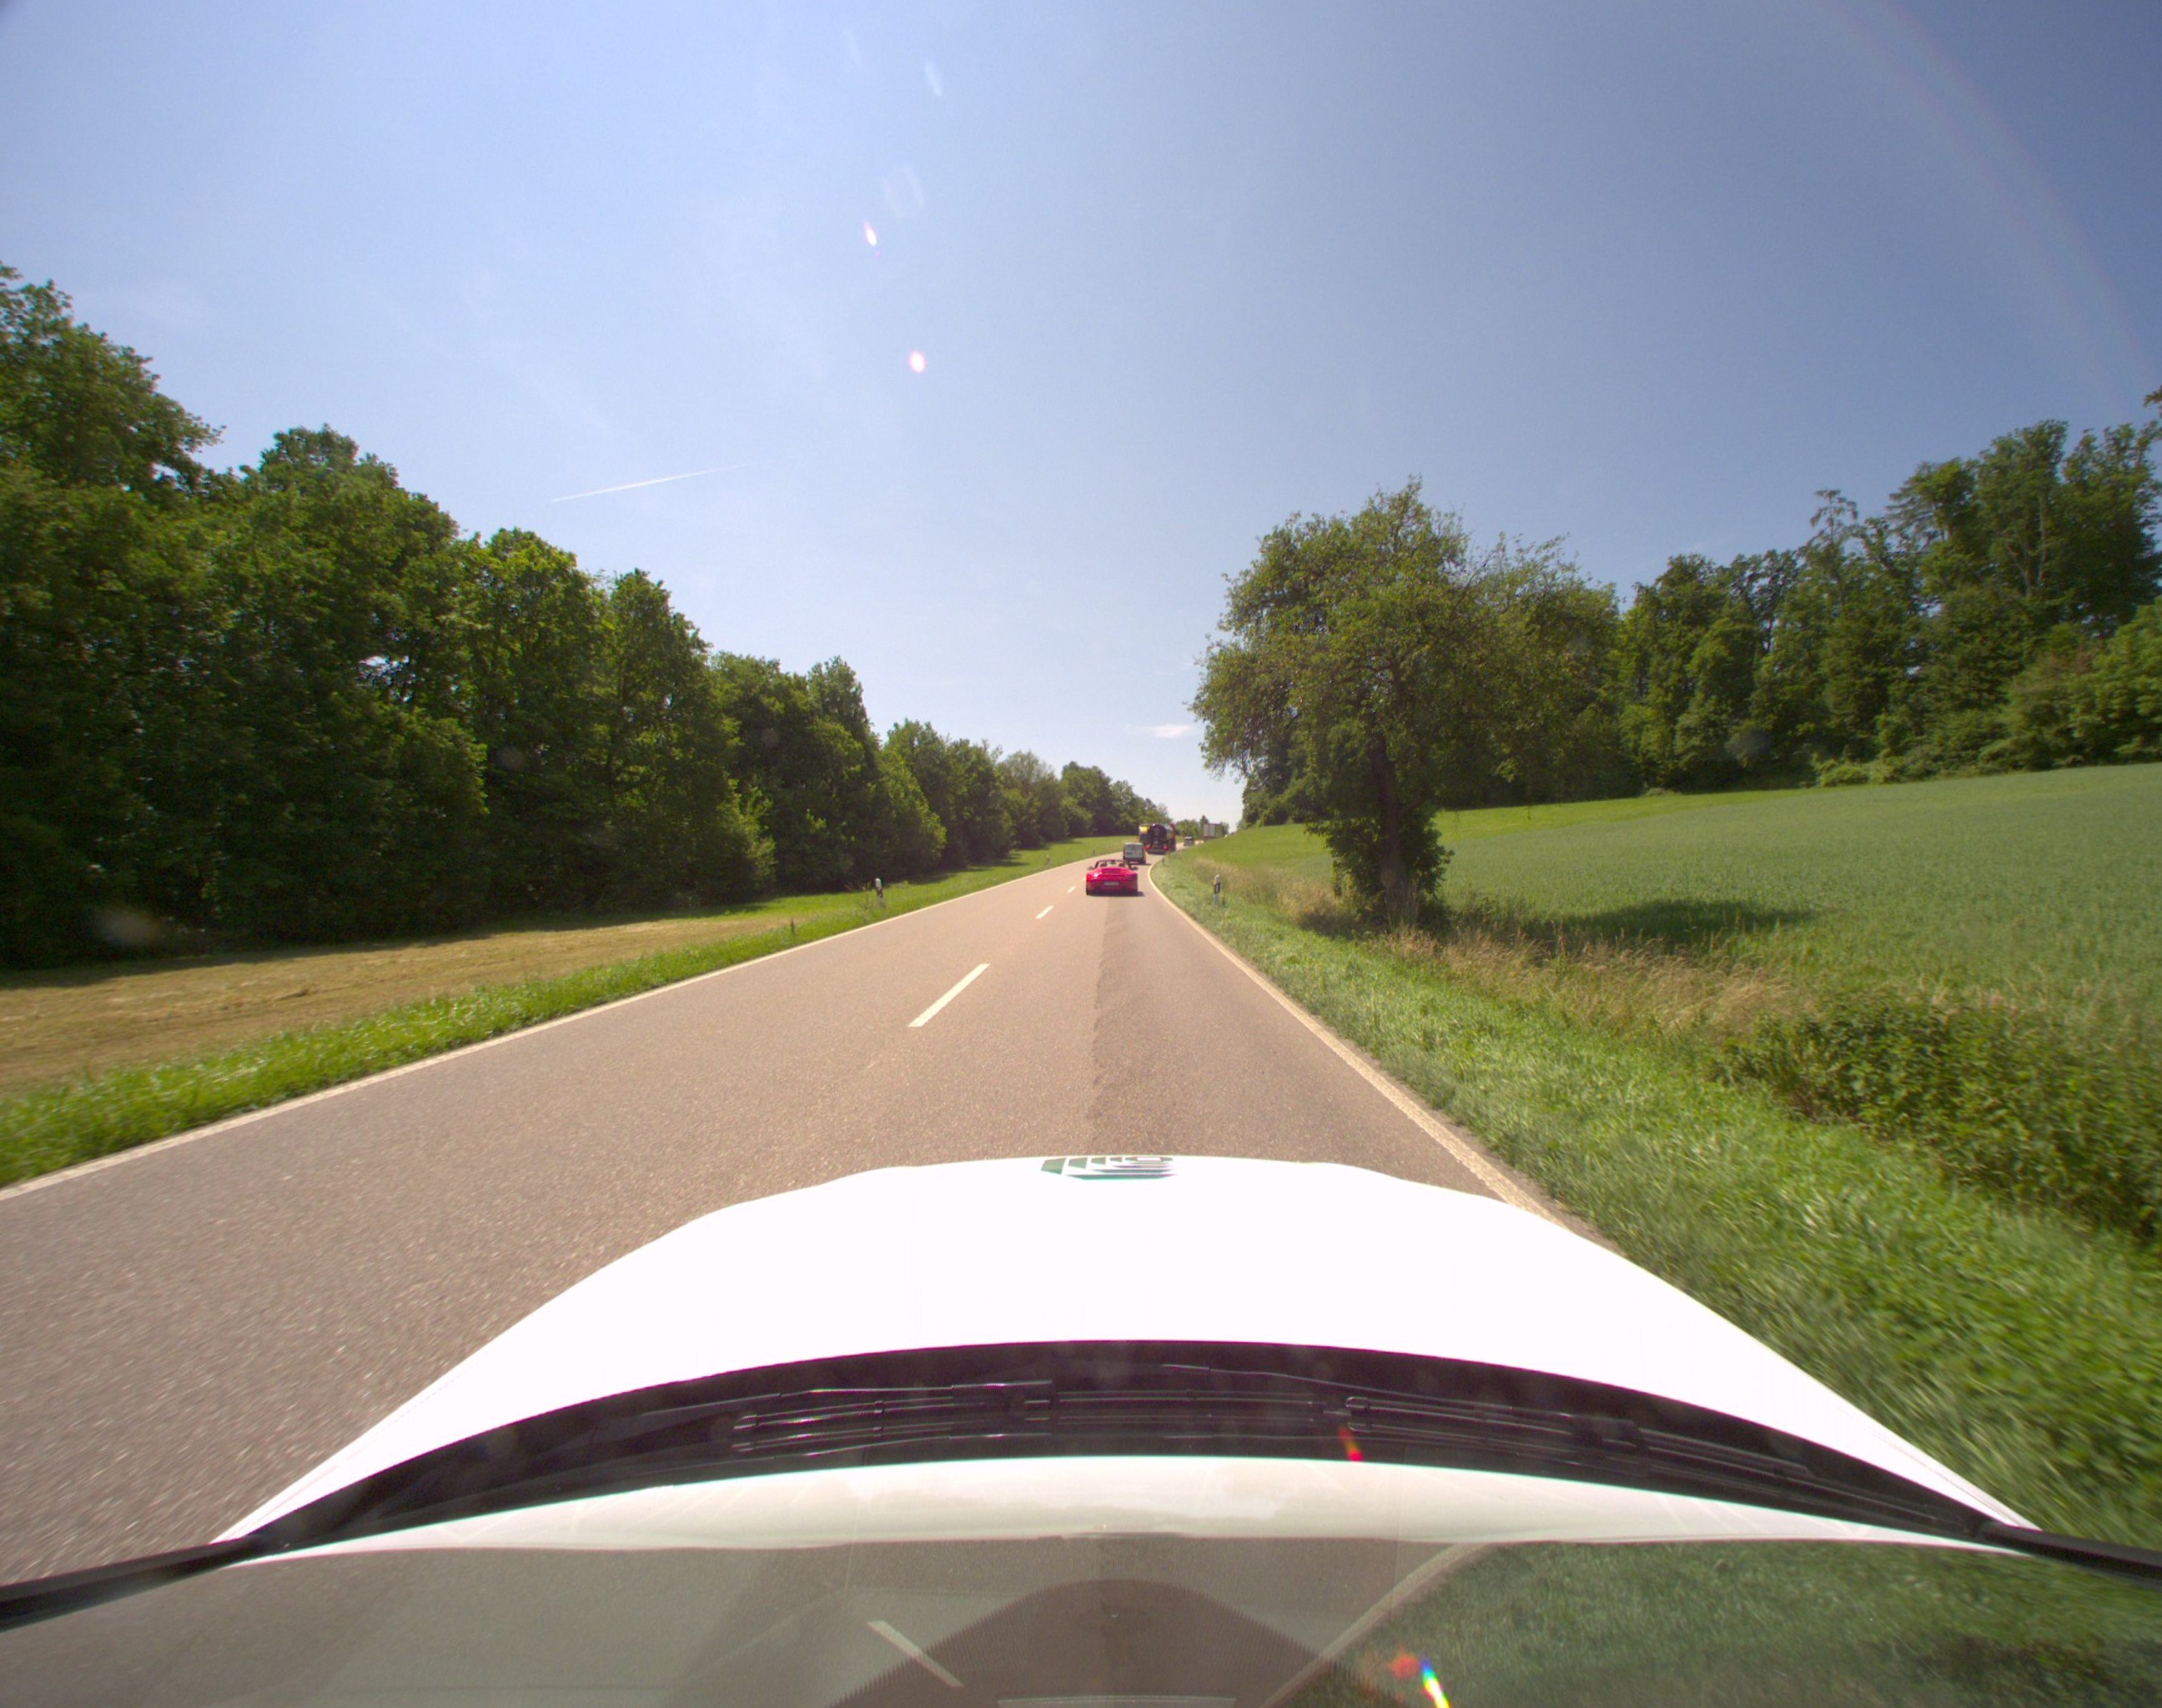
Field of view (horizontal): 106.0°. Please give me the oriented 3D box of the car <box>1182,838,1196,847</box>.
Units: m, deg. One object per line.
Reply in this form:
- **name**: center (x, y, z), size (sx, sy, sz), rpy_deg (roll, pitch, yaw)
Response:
- **car**: center (18.571, -1.936, 139.823), size (1.817, 1.513, 4.209), rpy_deg (0, 2, 16)

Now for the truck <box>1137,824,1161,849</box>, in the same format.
- **truck**: center (10.449, -2.603, 124.228), size (2.713, 3.690, 8.572), rpy_deg (0, 1, 11)

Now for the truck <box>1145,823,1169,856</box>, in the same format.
- **truck**: center (9.996, -1.973, 106.205), size (2.390, 4.049, 12.581), rpy_deg (0, 1, 8)

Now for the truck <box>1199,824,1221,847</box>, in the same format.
- **truck**: center (27.354, -3.961, 171.636), size (3.699, 4.660, 12.075), rpy_deg (0, 2, 13)

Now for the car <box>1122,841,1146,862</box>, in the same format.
- **car**: center (4.739, -0.197, 72.728), size (1.668, 1.901, 4.020), rpy_deg (0, -1, 10)

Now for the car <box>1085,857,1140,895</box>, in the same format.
- **car**: center (1.131, 0.770, 30.143), size (1.876, 1.255, 4.010), rpy_deg (0, 0, 1)
